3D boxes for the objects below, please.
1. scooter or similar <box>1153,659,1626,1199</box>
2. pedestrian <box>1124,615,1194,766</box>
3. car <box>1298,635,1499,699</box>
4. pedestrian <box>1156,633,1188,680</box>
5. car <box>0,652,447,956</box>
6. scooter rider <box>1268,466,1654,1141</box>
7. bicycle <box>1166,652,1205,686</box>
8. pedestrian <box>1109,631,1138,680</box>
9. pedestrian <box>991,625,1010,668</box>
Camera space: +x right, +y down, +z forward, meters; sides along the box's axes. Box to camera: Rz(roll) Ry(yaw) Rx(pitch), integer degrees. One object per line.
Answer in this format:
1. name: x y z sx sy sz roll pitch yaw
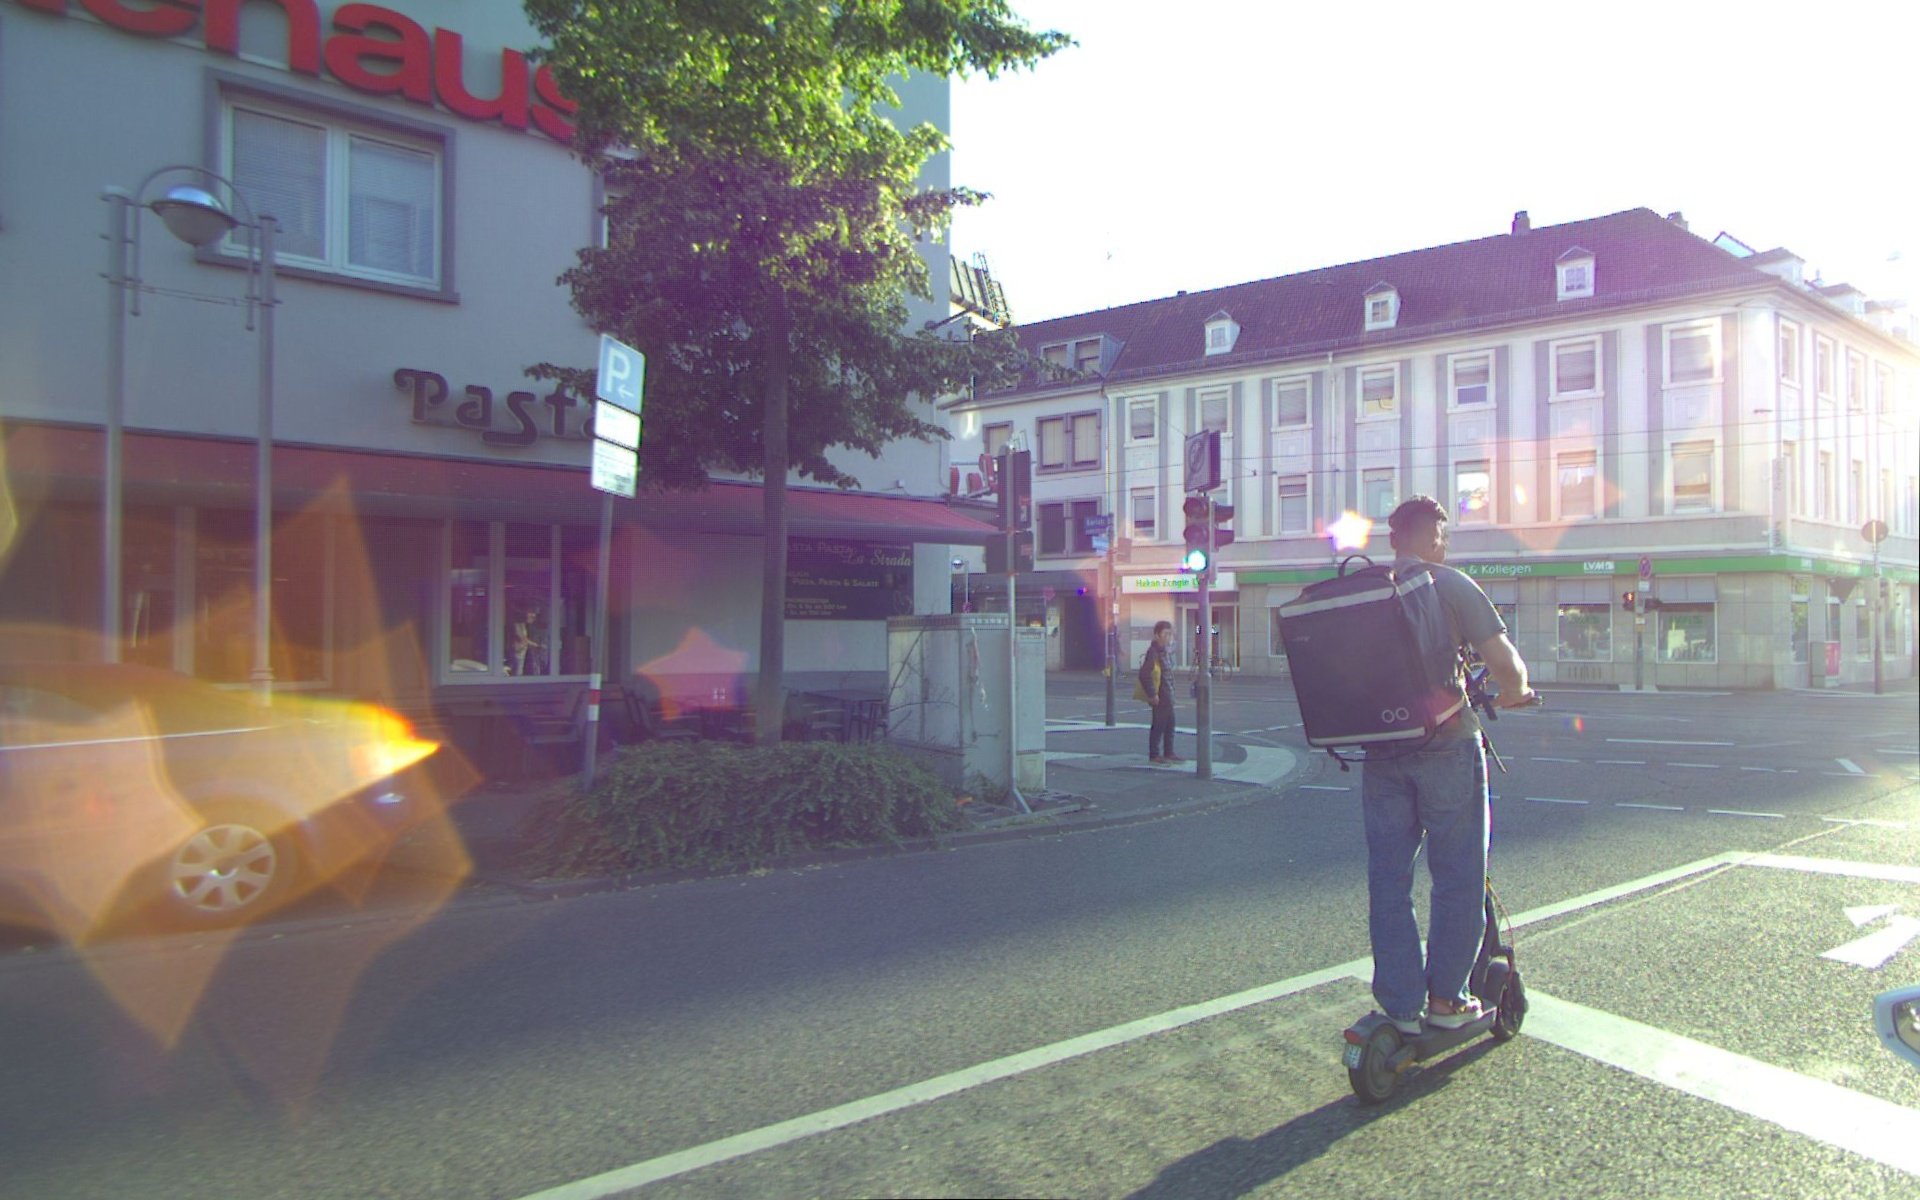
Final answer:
1. scooter or similar: 1.400 0.892 3.156 1.651 1.368 0.541 1 -1 -33
2. pedestrian: 2.312 1.016 11.613 0.576 1.678 0.798 0 -2 30
3. car: 11.258 1.668 26.100 1.878 1.499 4.499 2 -3 -35
4. pedestrian: 7.699 2.032 36.504 0.821 1.662 0.804 0 -1 -41
5. car: -5.137 0.983 5.201 4.266 1.371 1.639 1 -2 -34
6. scooter rider: 1.612 0.561 3.281 0.779 1.831 0.807 2 0 -32
7. bicycle: 7.604 2.306 33.806 0.491 1.073 1.734 -2 -2 41
8. pedestrian: 5.961 2.002 36.595 0.800 1.751 0.826 -1 0 33
9. pedestrian: 1.665 1.884 40.955 0.574 1.707 0.508 1 0 32
